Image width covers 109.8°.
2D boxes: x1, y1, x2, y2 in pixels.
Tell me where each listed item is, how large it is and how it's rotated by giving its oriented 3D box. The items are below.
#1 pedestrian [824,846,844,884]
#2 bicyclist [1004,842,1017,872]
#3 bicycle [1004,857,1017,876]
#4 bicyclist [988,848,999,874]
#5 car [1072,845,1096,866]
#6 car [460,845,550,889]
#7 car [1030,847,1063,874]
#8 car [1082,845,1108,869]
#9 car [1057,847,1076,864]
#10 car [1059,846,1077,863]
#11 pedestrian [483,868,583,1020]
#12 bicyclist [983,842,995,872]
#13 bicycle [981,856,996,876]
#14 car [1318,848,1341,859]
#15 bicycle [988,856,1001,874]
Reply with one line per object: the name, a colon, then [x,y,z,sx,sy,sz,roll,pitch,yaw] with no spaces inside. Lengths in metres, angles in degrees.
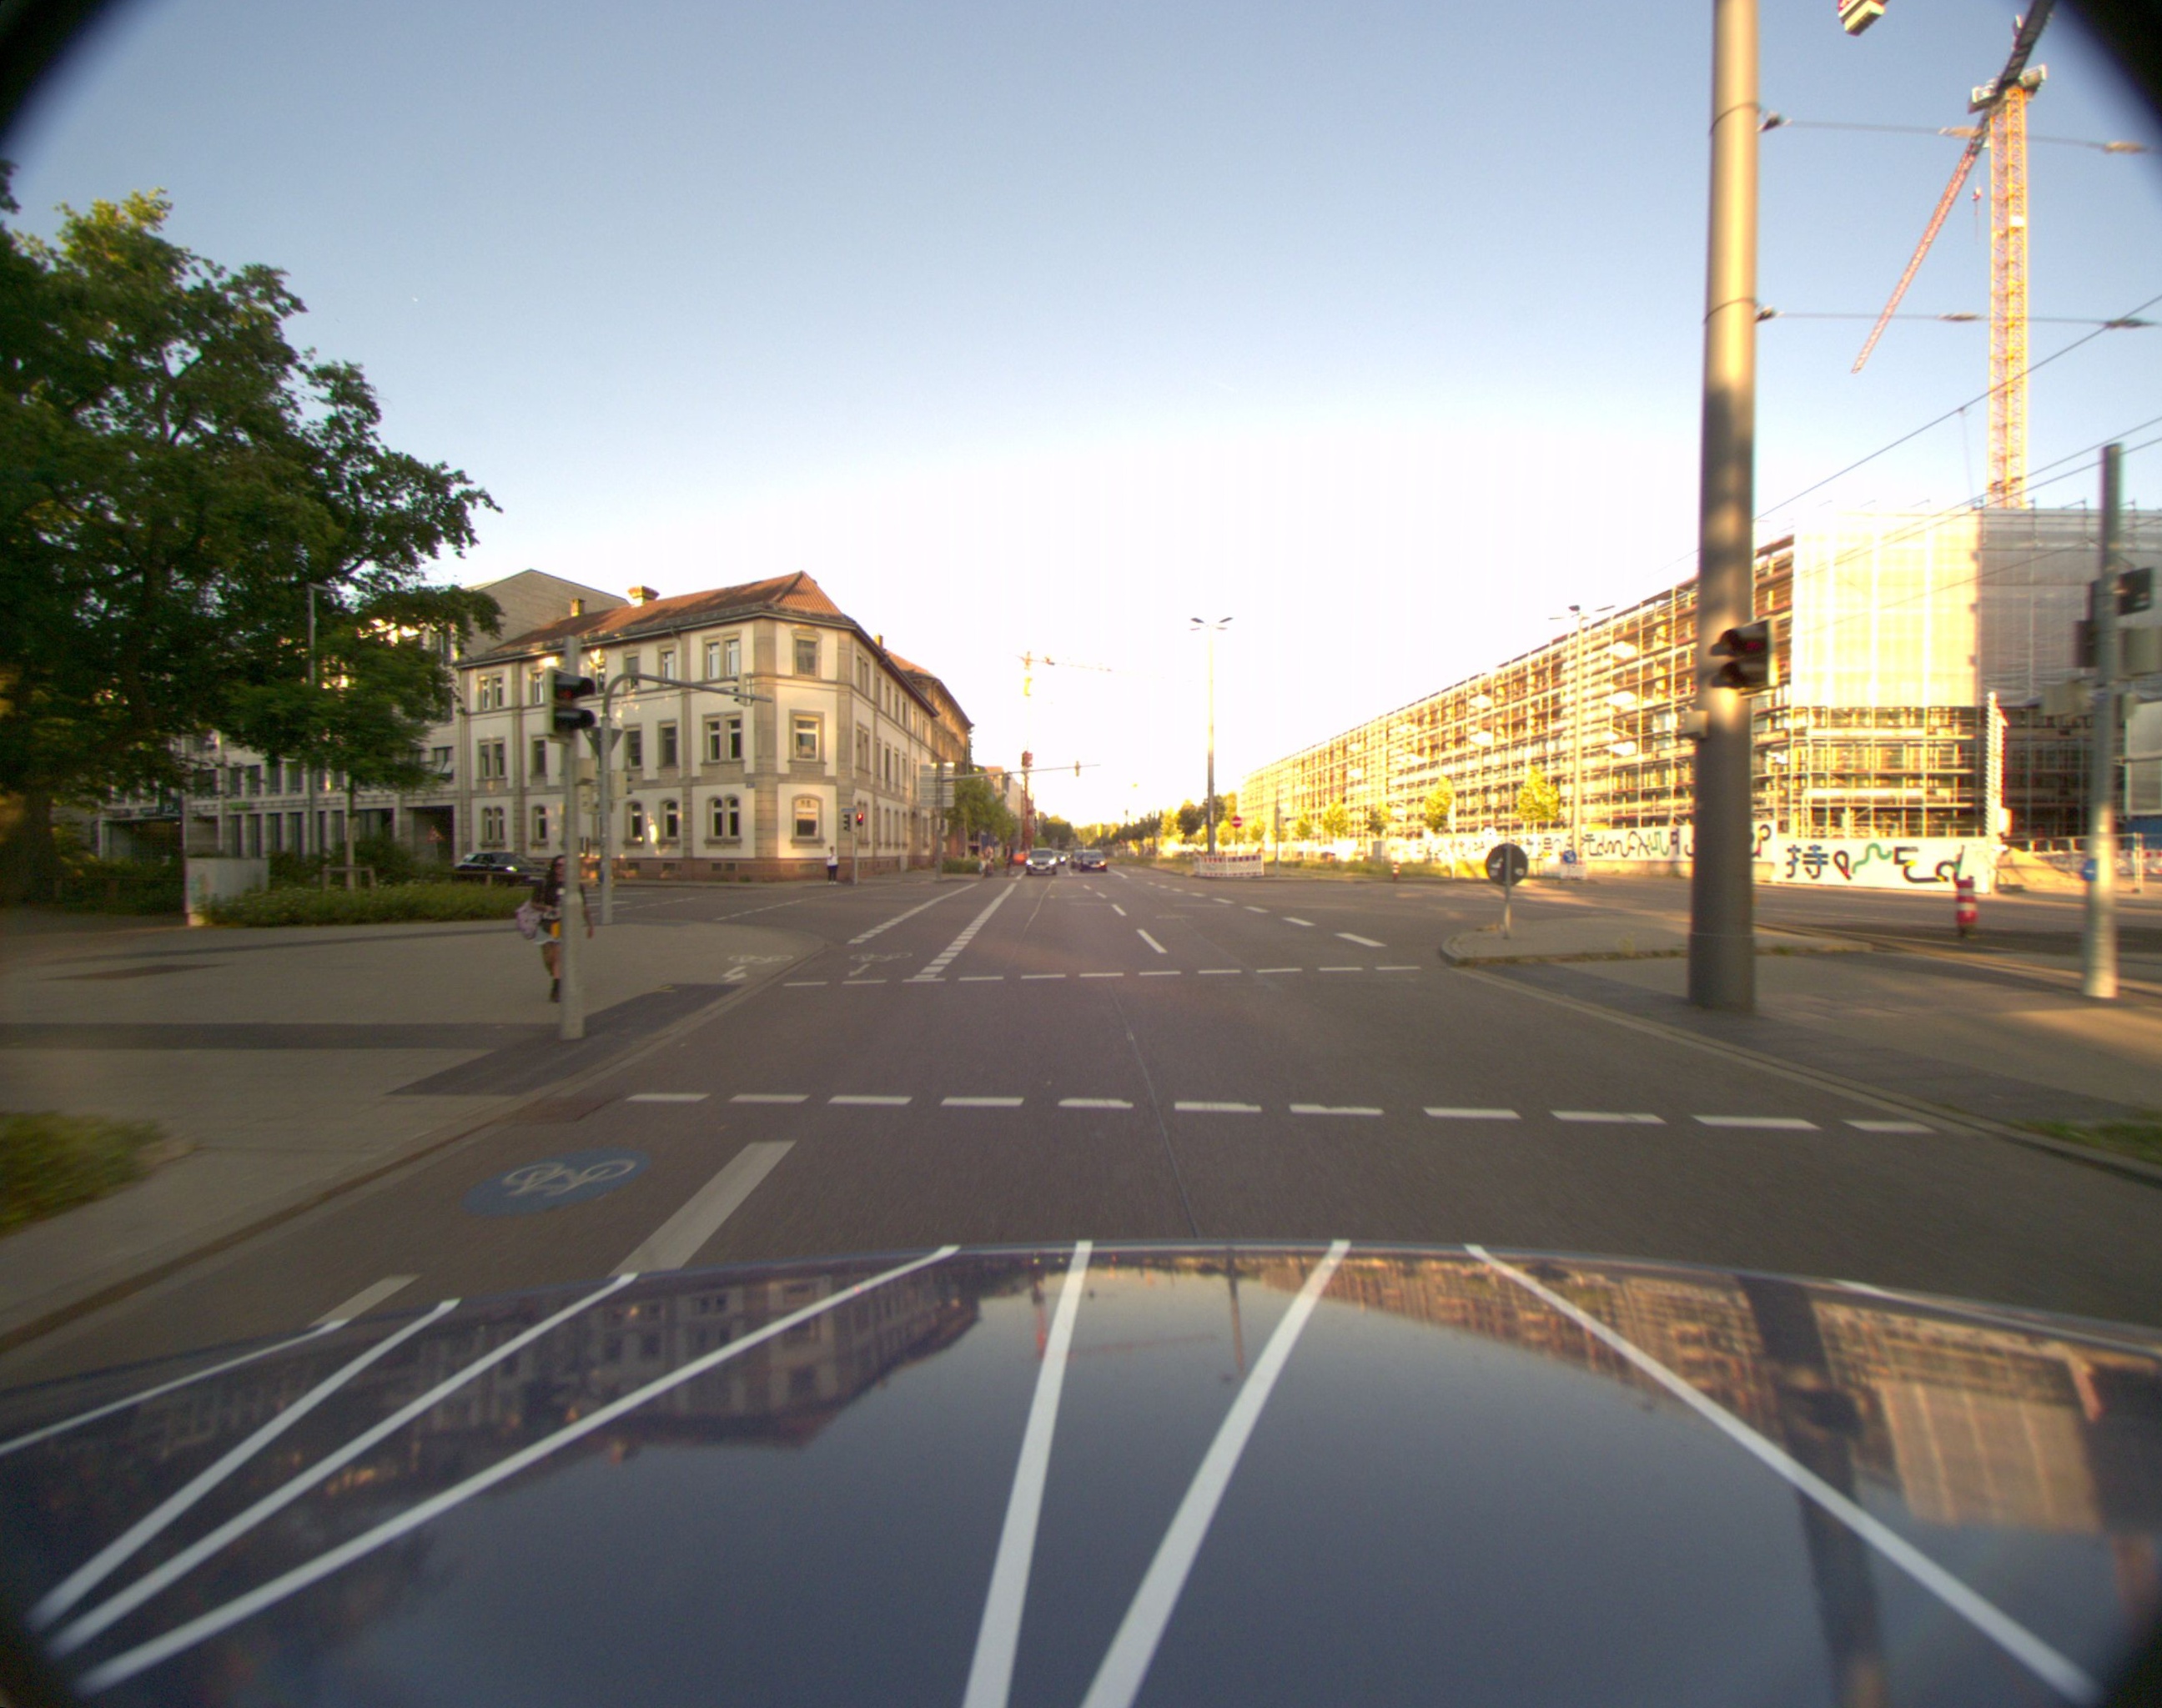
pedestrian: [-10.896,0.476,33.530,0.819,1.647,0.635,0,1,-21]
bicyclist: [-4.137,0.164,44.557,0.705,1.692,0.767,-3,3,-5]
bicycle: [-4.103,0.727,44.411,0.721,1.045,2.042,-2,1,-5]
bicyclist: [-5.326,0.408,46.332,0.512,1.540,0.692,1,1,2]
car: [0.251,0.125,60.575,1.861,1.588,4.259,-1,1,0]
car: [-21.522,0.500,28.373,3.566,1.507,1.834,-1,-4,39]
car: [-2.075,0.346,46.927,1.833,1.588,4.259,-1,1,0]
car: [0.917,0.170,51.687,1.702,1.588,4.259,-1,1,0]
car: [-1.422,0.108,76.348,1.879,1.652,3.761,-1,1,0]
car: [-1.312,0.051,76.315,1.702,1.588,3.889,-1,1,0]
pedestrian: [-5.673,0.903,7.894,0.580,1.495,0.619,1,1,5]
bicyclist: [-5.383,0.188,44.447,0.510,1.692,0.768,3,3,2]
bicycle: [-5.406,0.673,44.416,0.528,1.045,2.047,3,2,2]
car: [33.138,-0.053,101.489,1.667,1.447,4.068,2,1,0]
bicycle: [-5.321,0.683,46.698,0.517,1.045,2.044,1,1,2]
